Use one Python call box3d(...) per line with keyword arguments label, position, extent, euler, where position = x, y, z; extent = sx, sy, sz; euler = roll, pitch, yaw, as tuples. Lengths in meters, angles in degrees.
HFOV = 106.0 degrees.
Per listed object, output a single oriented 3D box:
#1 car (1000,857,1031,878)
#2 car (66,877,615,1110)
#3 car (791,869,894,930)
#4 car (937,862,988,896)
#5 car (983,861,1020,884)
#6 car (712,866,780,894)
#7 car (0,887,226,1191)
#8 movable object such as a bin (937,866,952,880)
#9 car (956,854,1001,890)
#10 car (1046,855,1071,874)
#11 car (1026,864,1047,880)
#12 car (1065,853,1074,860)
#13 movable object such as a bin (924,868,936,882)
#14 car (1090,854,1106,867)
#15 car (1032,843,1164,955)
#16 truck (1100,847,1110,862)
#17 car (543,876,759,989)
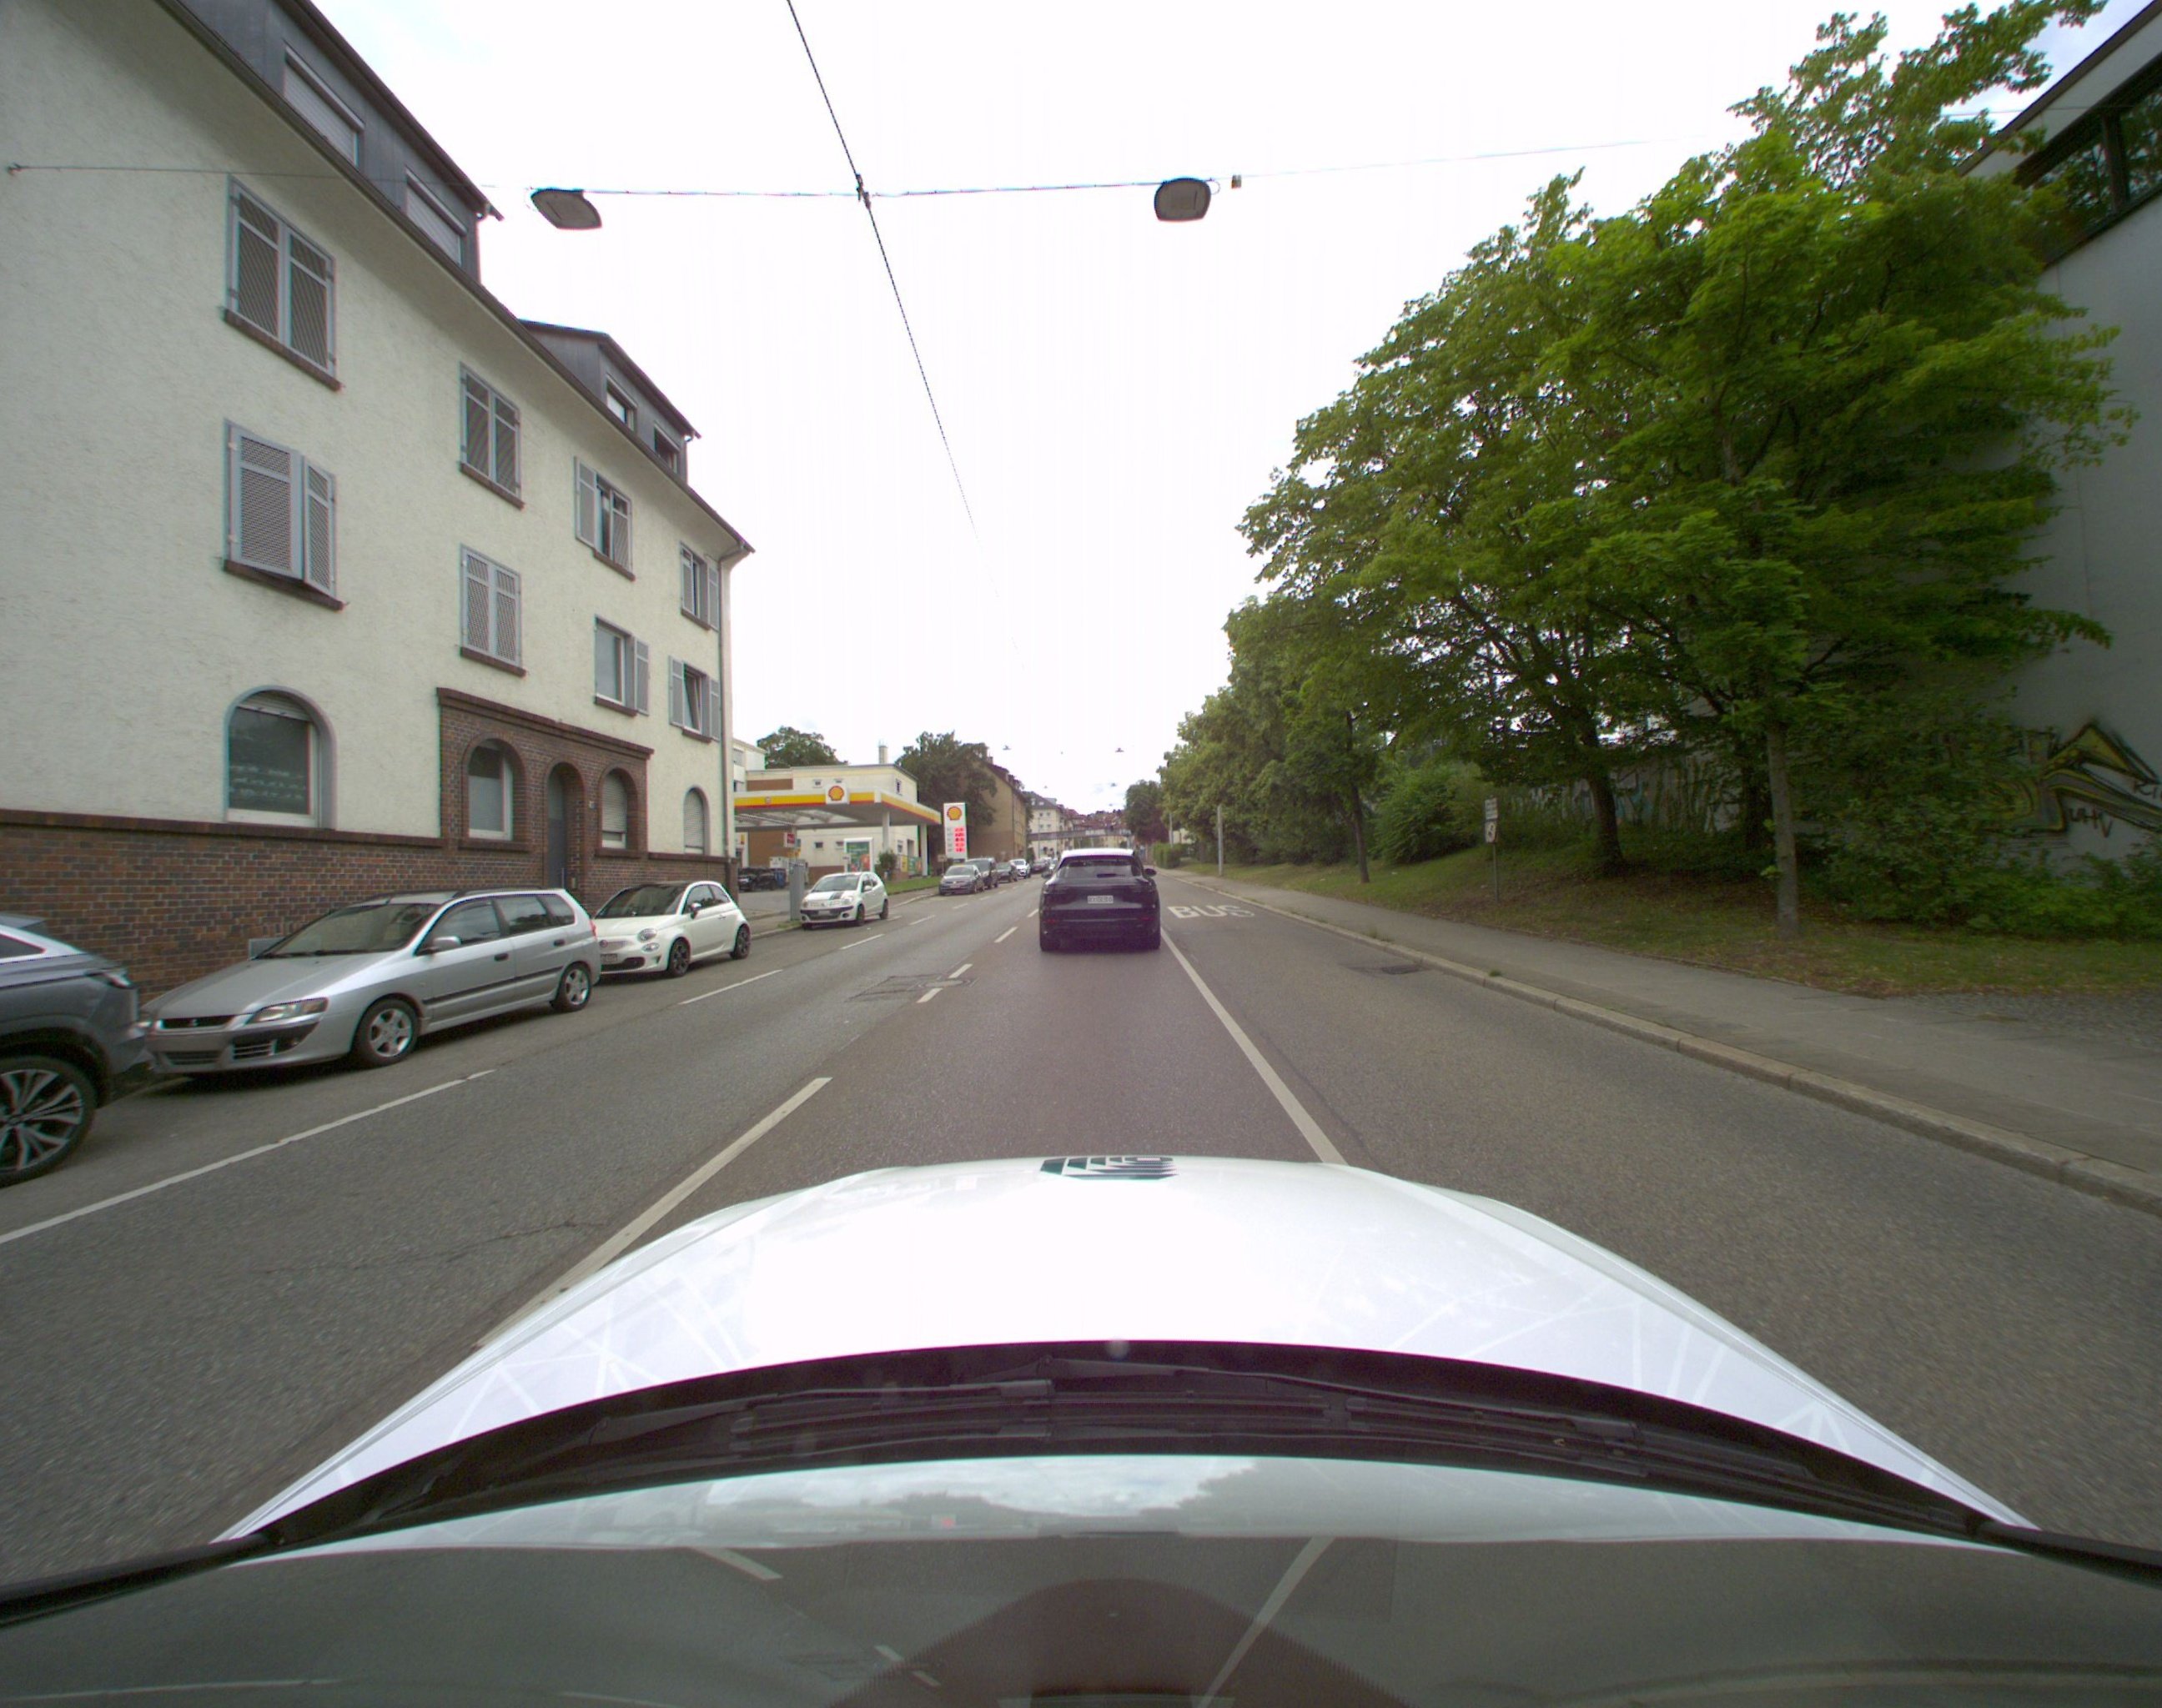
box3d(label="car", position=(-5.350, 1.062, 67.088), extent=(1.908, 1.577, 4.702), euler=(-3, 0, 2))
box3d(label="car", position=(-6.894, 1.138, 8.337), extent=(1.721, 1.558, 4.082), euler=(-5, 0, 1))
box3d(label="car", position=(-6.594, 1.217, 22.881), extent=(1.613, 1.425, 3.667), euler=(-3, 0, 2))
box3d(label="car", position=(-5.888, 1.221, 40.938), extent=(1.784, 1.450, 4.219), euler=(-4, 0, 2))
box3d(label="car", position=(-5.613, 1.275, 57.913), extent=(1.790, 1.431, 4.748), euler=(-4, 0, 4))
box3d(label="car", position=(-18.530, 1.410, 45.275), extent=(1.791, 1.420, 4.418), euler=(-2, 0, 2))
box3d(label="car", position=(-6.826, 1.078, 3.298), extent=(1.719, 1.599, 4.506), euler=(-3, 0, 4))
box3d(label="movable object such as a bin", position=(-14.579, 2.066, 86.891), extent=(1.388, 1.428, 0.913), euler=(-2, 0, -1))
box3d(label="car", position=(-5.788, 0.992, 46.628), extent=(1.845, 1.835, 4.701), euler=(-3, 0, 0))
box3d(label="car", position=(-1.933, 0.907, 70.614), extent=(1.791, 1.525, 4.001), euler=(-4, 0, 2))
box3d(label="car", position=(-4.812, 1.939, 88.853), extent=(1.776, 1.609, 4.267), euler=(-5, 0, 3))
box3d(label="car", position=(-2.749, 0.564, 197.002), extent=(1.758, 1.508, 4.002), euler=(-2, -1, 2))
box3d(label="movable object such as a bin", position=(-16.059, 2.208, 86.686), extent=(0.907, 1.428, 1.397), euler=(-2, 0, -1))
box3d(label="car", position=(1.937, 0.715, 93.190), extent=(1.734, 1.400, 4.002), euler=(-2, 0, 2))
box3d(label="car", position=(0.335, 0.674, 14.520), extent=(1.986, 1.662, 4.002), euler=(-2, 0, 2))
box3d(label="truck", position=(5.619, 0.157, 192.515), extent=(2.258, 3.424, 9.881), euler=(-2, -1, 1))
box3d(label="car", position=(-6.916, 1.180, 13.549), extent=(1.542, 1.475, 3.605), euler=(-3, 0, 1))
